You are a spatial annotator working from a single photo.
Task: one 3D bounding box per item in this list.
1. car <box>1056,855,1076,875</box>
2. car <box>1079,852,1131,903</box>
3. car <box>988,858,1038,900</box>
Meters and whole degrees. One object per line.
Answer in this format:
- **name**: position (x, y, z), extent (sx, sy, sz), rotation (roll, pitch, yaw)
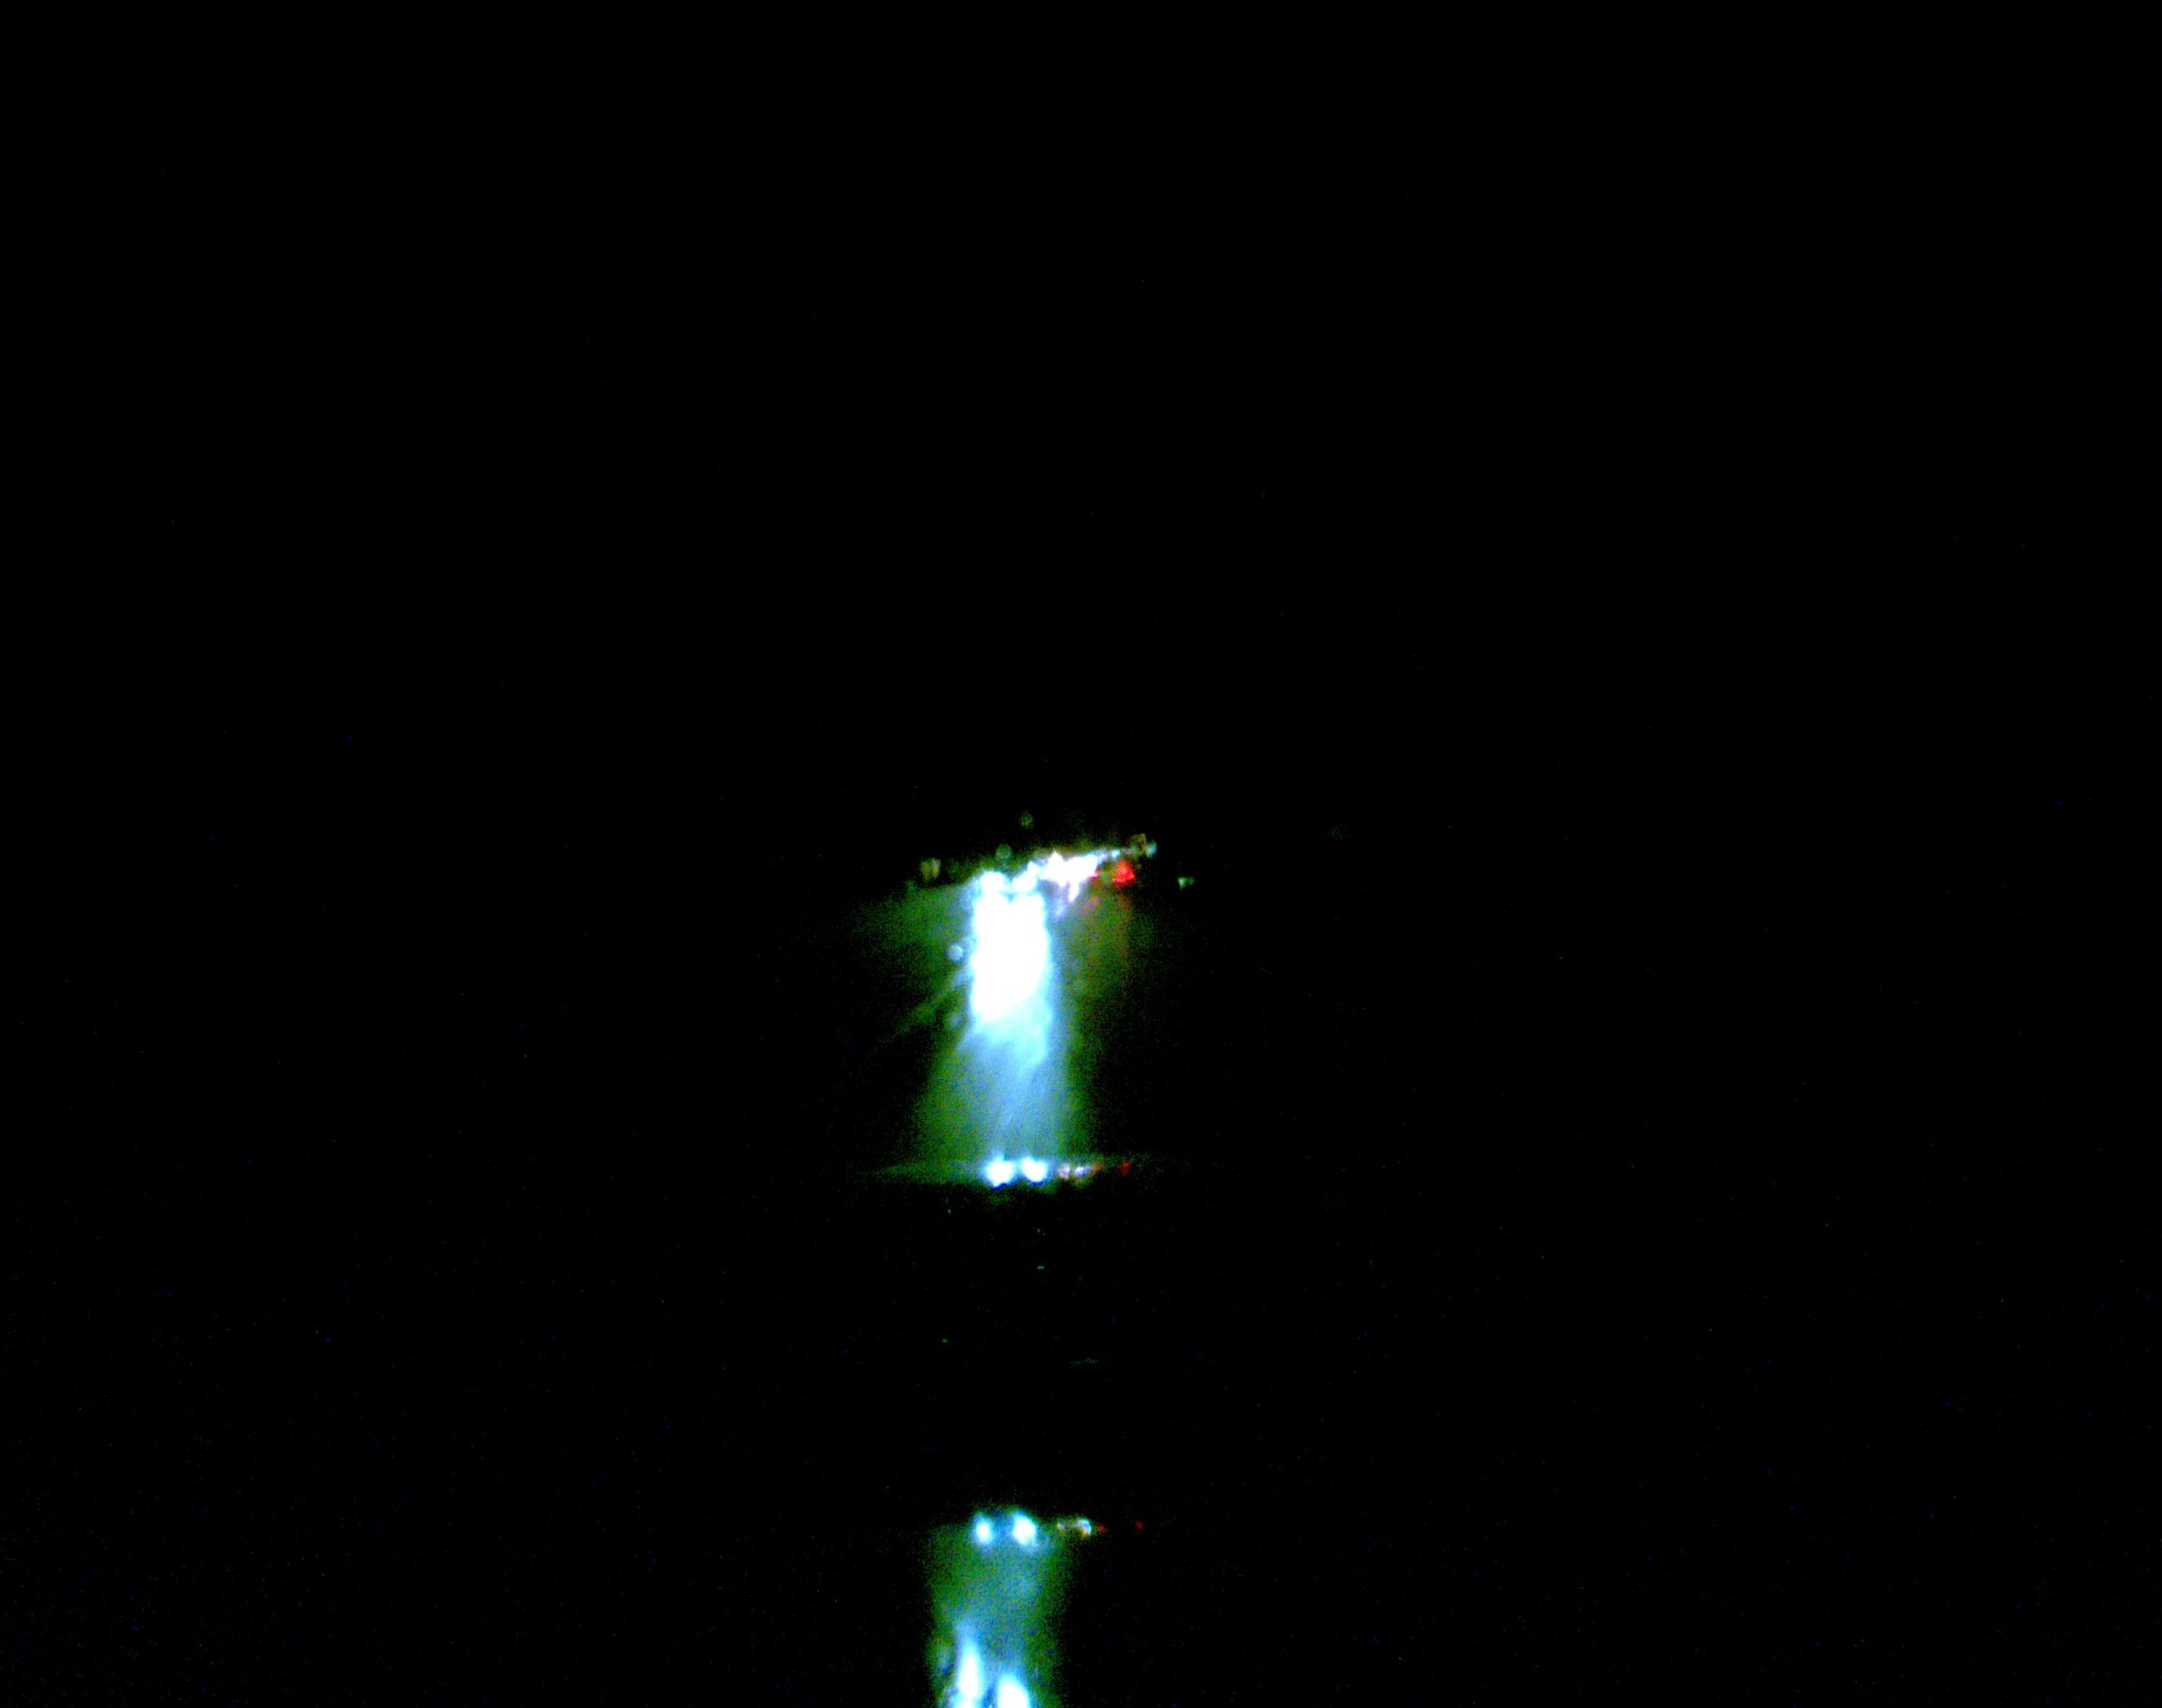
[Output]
- **car**: position (-1.557, 1.103, 83.439), extent (1.988, 2.013, 3.997), rotation (0, 0, -2)
- **car**: position (1.023, 0.949, 34.767), extent (2.086, 2.013, 4.001), rotation (-1, 0, 1)
- **car**: position (-2.580, 0.910, 31.469), extent (1.742, 1.426, 3.682), rotation (-2, 0, -3)
